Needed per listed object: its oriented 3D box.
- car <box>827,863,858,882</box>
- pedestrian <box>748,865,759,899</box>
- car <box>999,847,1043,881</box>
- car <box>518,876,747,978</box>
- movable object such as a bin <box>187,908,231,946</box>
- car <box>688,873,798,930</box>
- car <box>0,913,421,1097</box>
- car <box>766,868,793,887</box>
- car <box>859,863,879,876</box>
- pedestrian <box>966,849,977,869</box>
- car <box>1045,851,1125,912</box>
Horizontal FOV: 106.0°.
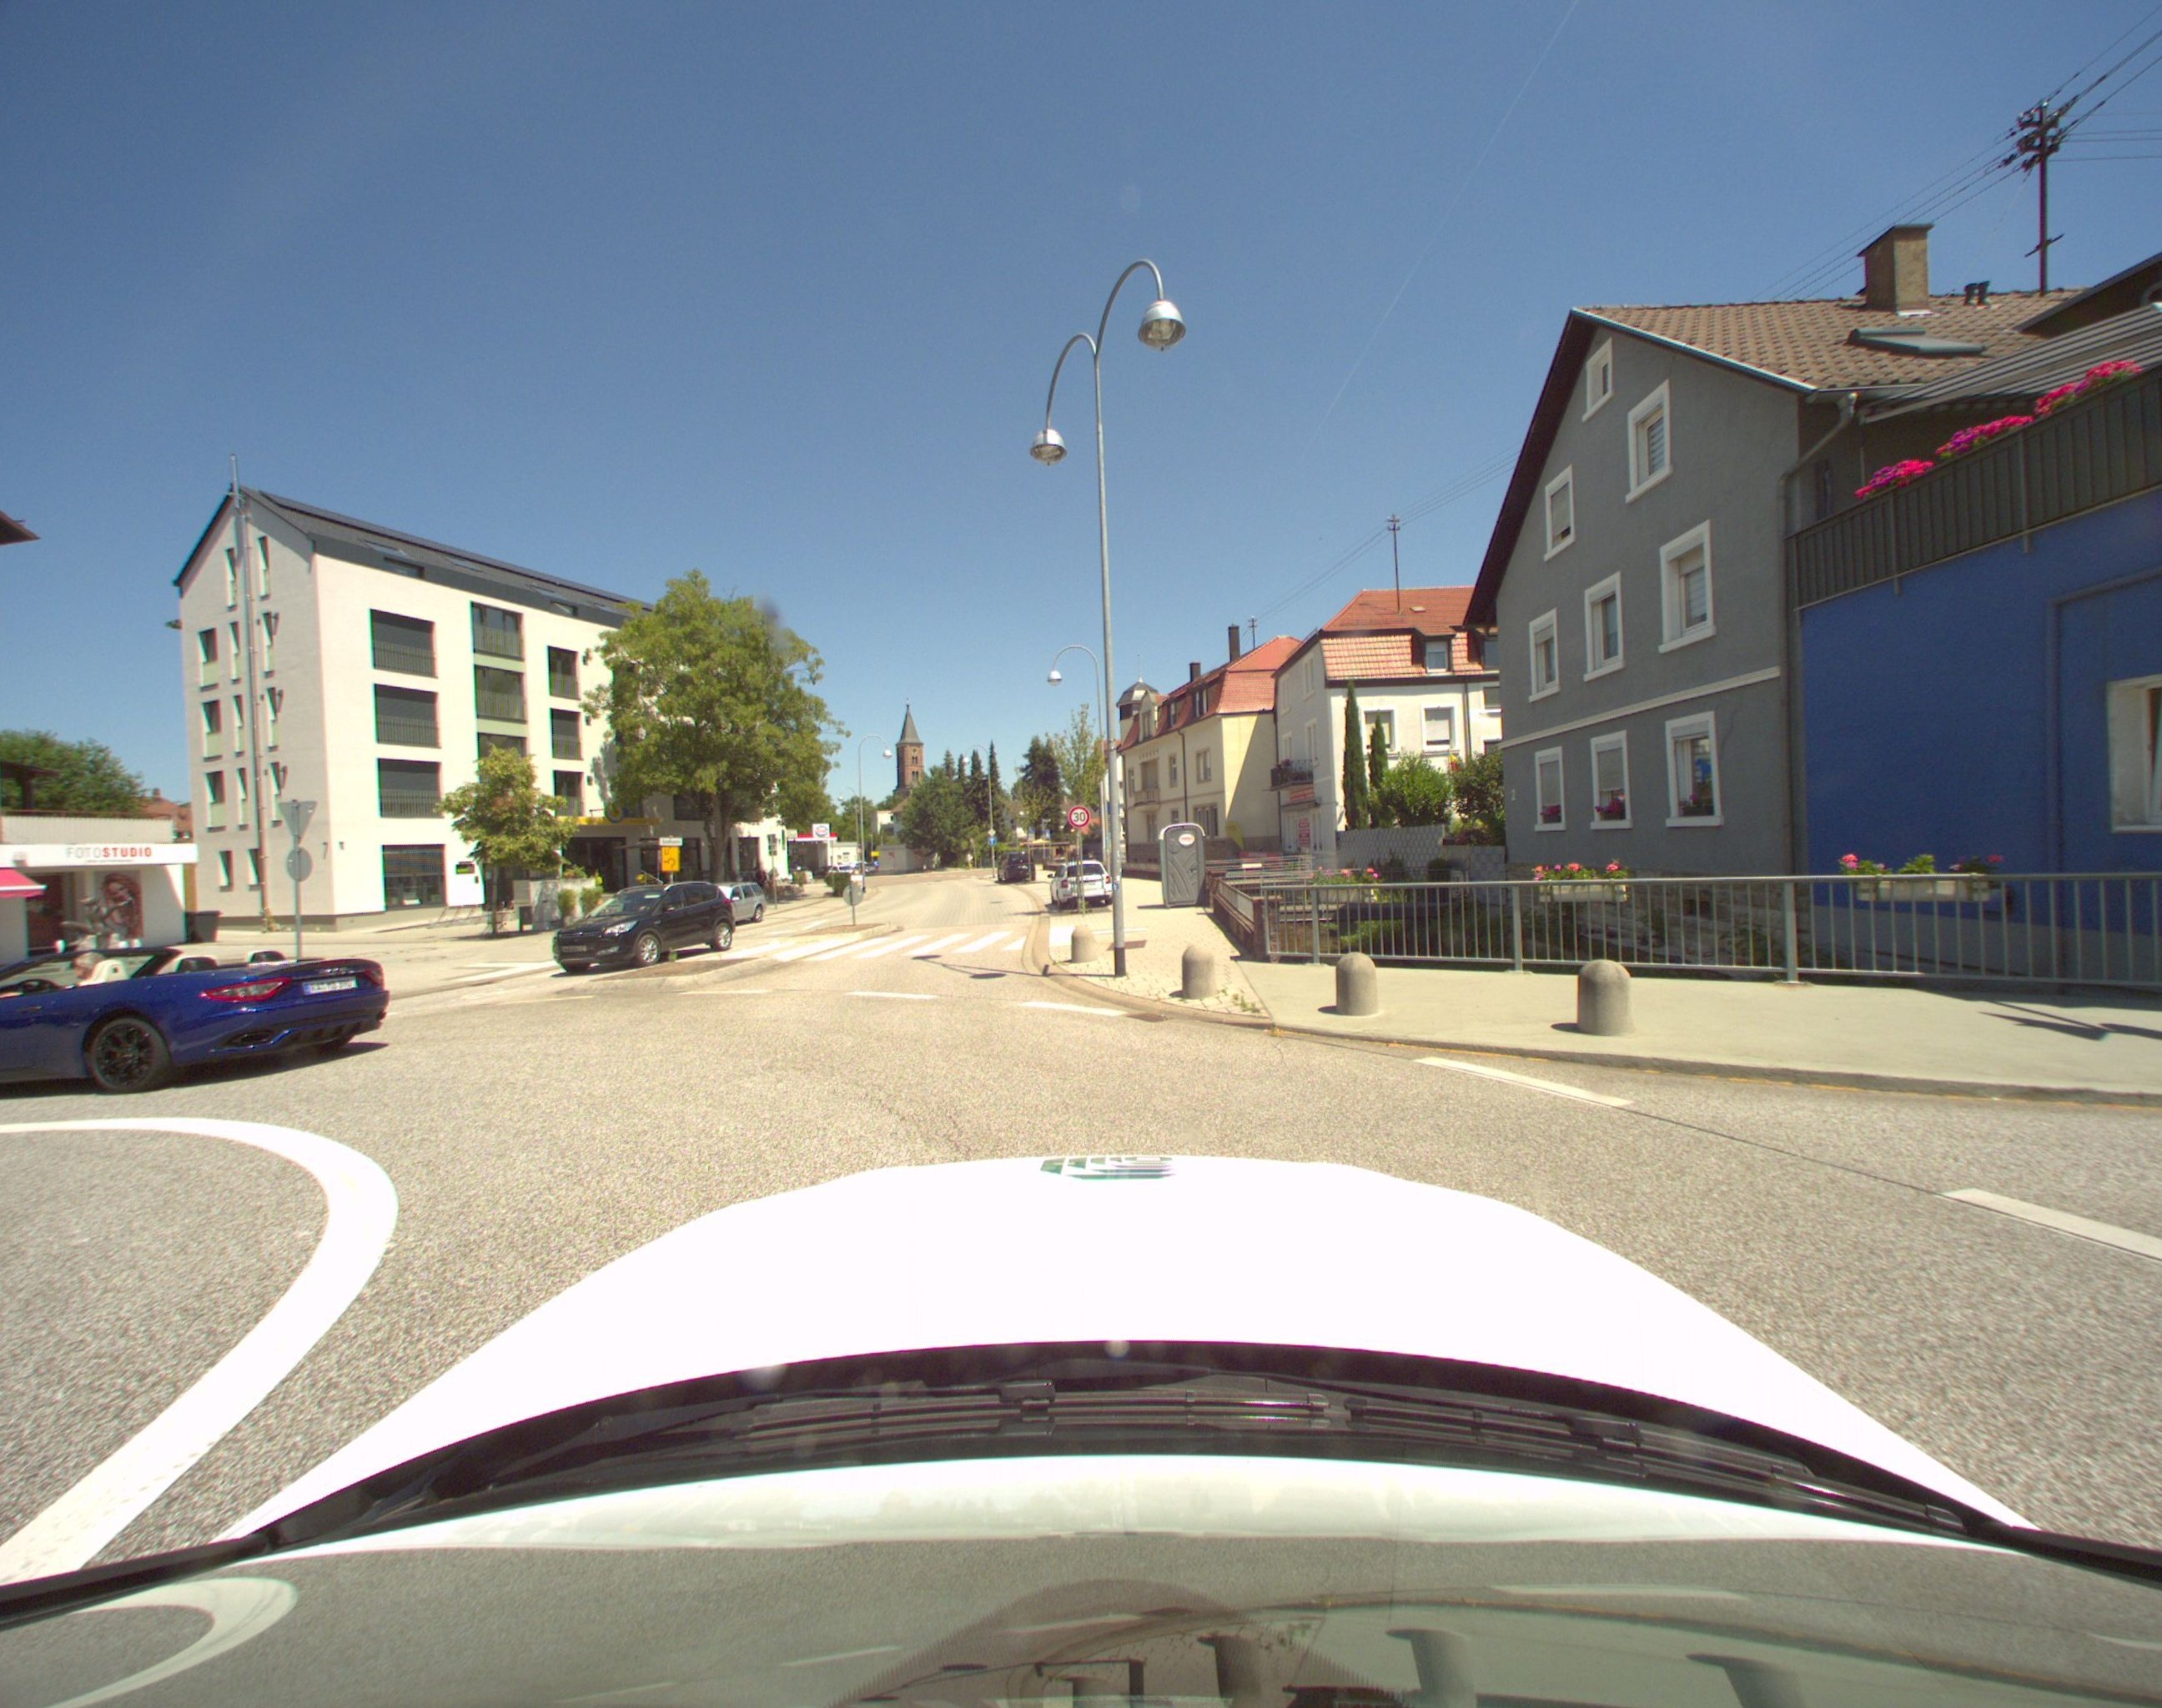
[{"bbox_3d":[-21.694,1.654,73.915,1.842,1.574,3.963,-4,1,-29],"label":"car"},{"bbox_3d":[-16.587,1.412,41.268,0.405,1.628,0.648,-2,2,-15],"label":"pedestrian"},{"bbox_3d":[-3.711,0.555,49.815,1.996,1.864,4.267,-2,2,-14],"label":"car"},{"bbox_3d":[-9.610,1.487,17.989,1.982,1.688,4.537,-4,0,8],"label":"car"},{"bbox_3d":[-28.943,2.418,27.035,0.764,1.155,0.765,0,2,26],"label":"movable object such as a bin"},{"bbox_3d":[-11.338,1.539,27.612,1.788,1.590,4.005,-1,1,4],"label":"car"},{"bbox_3d":[-9.776,1.502,8.297,4.589,1.398,1.986,-4,-1,5],"label":"car"},{"bbox_3d":[-28.050,2.188,75.718,1.841,1.574,3.965,-3,0,-27],"label":"car"},{"bbox_3d":[-23.645,1.700,90.701,1.547,1.378,3.969,-3,0,-23],"label":"car"},{"bbox_3d":[-10.263,0.494,76.584,0.850,1.814,0.542,-3,3,-44],"label":"pedestrian"},{"bbox_3d":[0.032,0.842,26.876,1.992,1.584,4.277,-7,1,-6],"label":"car"}]
